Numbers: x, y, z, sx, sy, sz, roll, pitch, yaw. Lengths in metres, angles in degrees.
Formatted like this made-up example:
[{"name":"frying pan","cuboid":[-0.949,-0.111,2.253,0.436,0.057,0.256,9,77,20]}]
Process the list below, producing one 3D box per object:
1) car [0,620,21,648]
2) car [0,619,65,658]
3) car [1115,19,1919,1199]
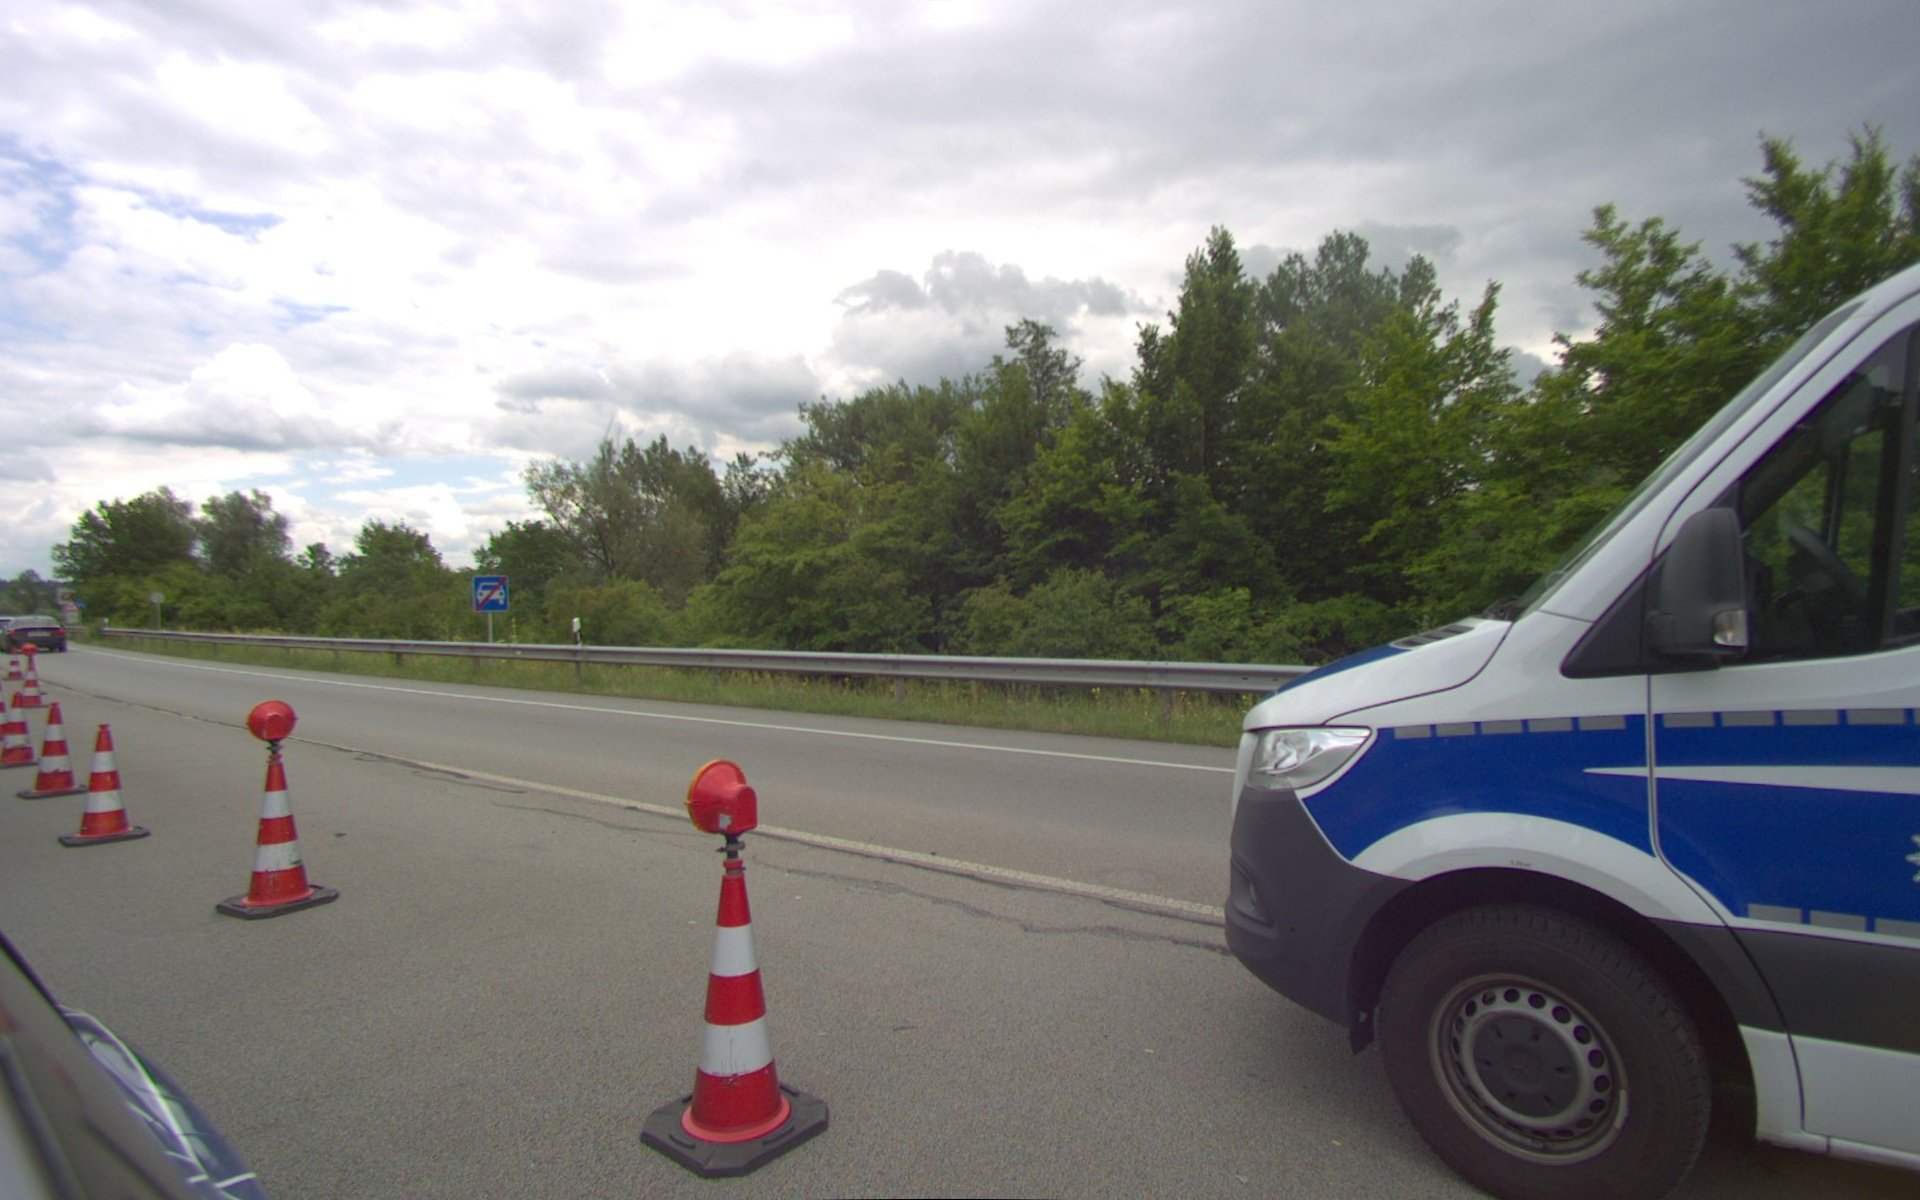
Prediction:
[{"name":"car","cuboid":[-51.951,1.819,54.345,4.370,1.412,1.662,-1,-1,39]},{"name":"car","cuboid":[-37.130,1.521,40.465,4.338,1.447,1.690,-1,-1,44]},{"name":"car","cuboid":[3.150,0.136,2.115,5.272,2.482,2.010,-1,-1,38]}]
